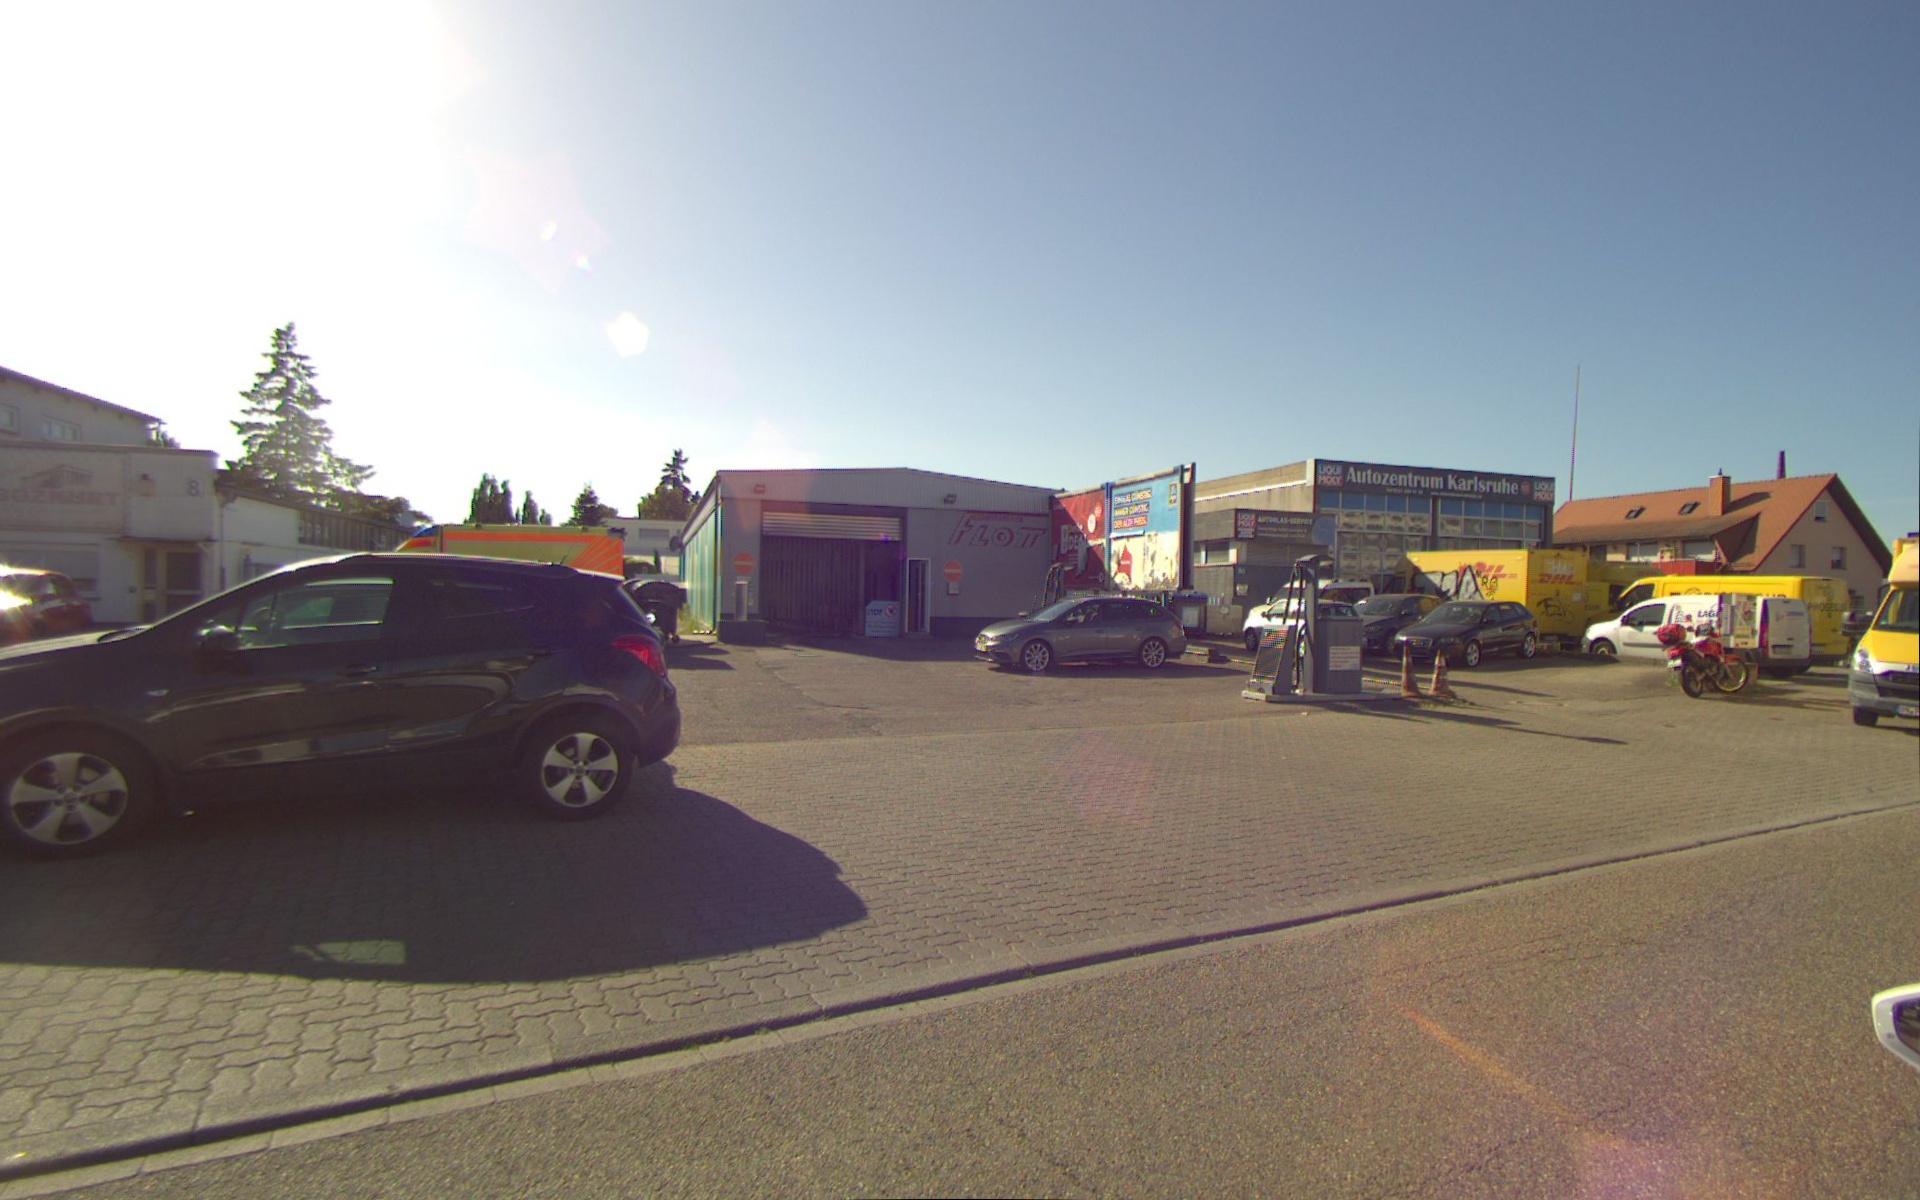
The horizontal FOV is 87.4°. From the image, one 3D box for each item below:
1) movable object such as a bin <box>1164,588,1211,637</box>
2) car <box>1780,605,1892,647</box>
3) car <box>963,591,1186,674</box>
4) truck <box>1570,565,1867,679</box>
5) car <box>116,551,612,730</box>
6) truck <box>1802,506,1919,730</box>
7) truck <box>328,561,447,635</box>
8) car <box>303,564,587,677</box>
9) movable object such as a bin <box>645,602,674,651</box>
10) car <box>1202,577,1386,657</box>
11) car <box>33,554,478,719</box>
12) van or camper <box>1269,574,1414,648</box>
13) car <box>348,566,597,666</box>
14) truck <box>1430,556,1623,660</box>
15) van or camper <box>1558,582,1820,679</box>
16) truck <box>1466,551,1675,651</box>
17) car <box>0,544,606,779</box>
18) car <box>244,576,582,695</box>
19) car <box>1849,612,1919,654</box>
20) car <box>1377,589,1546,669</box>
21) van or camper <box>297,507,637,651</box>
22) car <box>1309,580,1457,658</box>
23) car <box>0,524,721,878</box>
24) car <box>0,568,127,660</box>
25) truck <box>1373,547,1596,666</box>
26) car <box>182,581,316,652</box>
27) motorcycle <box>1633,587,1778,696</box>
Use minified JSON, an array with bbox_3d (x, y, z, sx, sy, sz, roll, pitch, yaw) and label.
[{"bbox_3d":[6.910,0.384,30.526,1.280,1.471,0.537,1,0,-19],"label":"movable object such as a bin"},{"bbox_3d":[37.155,1.103,42.629,3.978,1.683,1.694,1,0,-16],"label":"car"},{"bbox_3d":[2.330,0.606,20.600,4.231,1.566,1.774,0,1,-20],"label":"car"},{"bbox_3d":[19.373,0.432,26.153,2.188,2.602,5.916,1,2,-18],"label":"truck"},{"bbox_3d":[-6.187,0.456,10.912,4.228,1.611,1.852,3,-1,-31],"label":"car"},{"bbox_3d":[16.045,0.310,15.512,7.163,3.023,2.390,1,2,-31],"label":"truck"},{"bbox_3d":[-18.017,-0.077,31.944,1.996,2.091,5.855,1,0,-17],"label":"truck"},{"bbox_3d":[-8.654,0.303,17.290,4.099,1.772,1.775,0,1,-19],"label":"car"},{"bbox_3d":[-6.767,0.588,22.634,0.576,1.089,0.423,1,1,-22],"label":"movable object such as a bin"},{"bbox_3d":[8.310,0.377,25.239,1.982,1.840,3.957,1,0,-37],"label":"car"},{"bbox_3d":[-8.318,0.377,12.348,4.099,1.772,1.775,0,1,-19],"label":"car"},{"bbox_3d":[11.416,0.318,30.050,3.950,2.041,1.852,1,2,-28],"label":"van or camper"},{"bbox_3d":[-9.193,0.272,19.338,4.099,1.772,1.775,0,1,-19],"label":"car"},{"bbox_3d":[17.808,0.242,31.973,2.138,3.012,5.333,1,0,-16],"label":"truck"},{"bbox_3d":[17.069,0.648,23.813,2.219,2.040,4.532,1,0,-23],"label":"van or camper"},{"bbox_3d":[20.126,0.039,33.548,2.138,3.012,6.090,1,0,-16],"label":"truck"},{"bbox_3d":[-5.438,0.448,8.660,4.227,1.611,1.852,1,0,-31],"label":"car"},{"bbox_3d":[-7.802,0.453,14.797,4.099,1.566,1.775,0,1,-19],"label":"car"},{"bbox_3d":[37.725,1.303,39.945,3.978,1.599,1.694,1,1,-16],"label":"car"},{"bbox_3d":[12.043,0.613,24.044,4.169,1.584,1.853,-4,3,-35],"label":"car"},{"bbox_3d":[-10.147,-0.356,21.351,6.173,2.751,2.162,1,1,-20],"label":"van or camper"},{"bbox_3d":[11.238,0.475,26.598,3.968,1.840,1.976,1,2,-40],"label":"car"},{"bbox_3d":[-3.926,0.489,6.535,4.227,1.737,1.852,1,3,-31],"label":"car"},{"bbox_3d":[-17.447,0.206,18.793,1.645,1.573,3.980,1,0,-21],"label":"car"},{"bbox_3d":[15.297,0.093,29.789,2.483,3.161,5.663,1,2,-18],"label":"truck"},{"bbox_3d":[-15.651,0.323,22.292,1.565,1.441,3.598,1,0,-21],"label":"car"},{"bbox_3d":[13.952,0.744,18.778,3.000,1.899,0.778,0,4,-26],"label":"motorcycle"}]
